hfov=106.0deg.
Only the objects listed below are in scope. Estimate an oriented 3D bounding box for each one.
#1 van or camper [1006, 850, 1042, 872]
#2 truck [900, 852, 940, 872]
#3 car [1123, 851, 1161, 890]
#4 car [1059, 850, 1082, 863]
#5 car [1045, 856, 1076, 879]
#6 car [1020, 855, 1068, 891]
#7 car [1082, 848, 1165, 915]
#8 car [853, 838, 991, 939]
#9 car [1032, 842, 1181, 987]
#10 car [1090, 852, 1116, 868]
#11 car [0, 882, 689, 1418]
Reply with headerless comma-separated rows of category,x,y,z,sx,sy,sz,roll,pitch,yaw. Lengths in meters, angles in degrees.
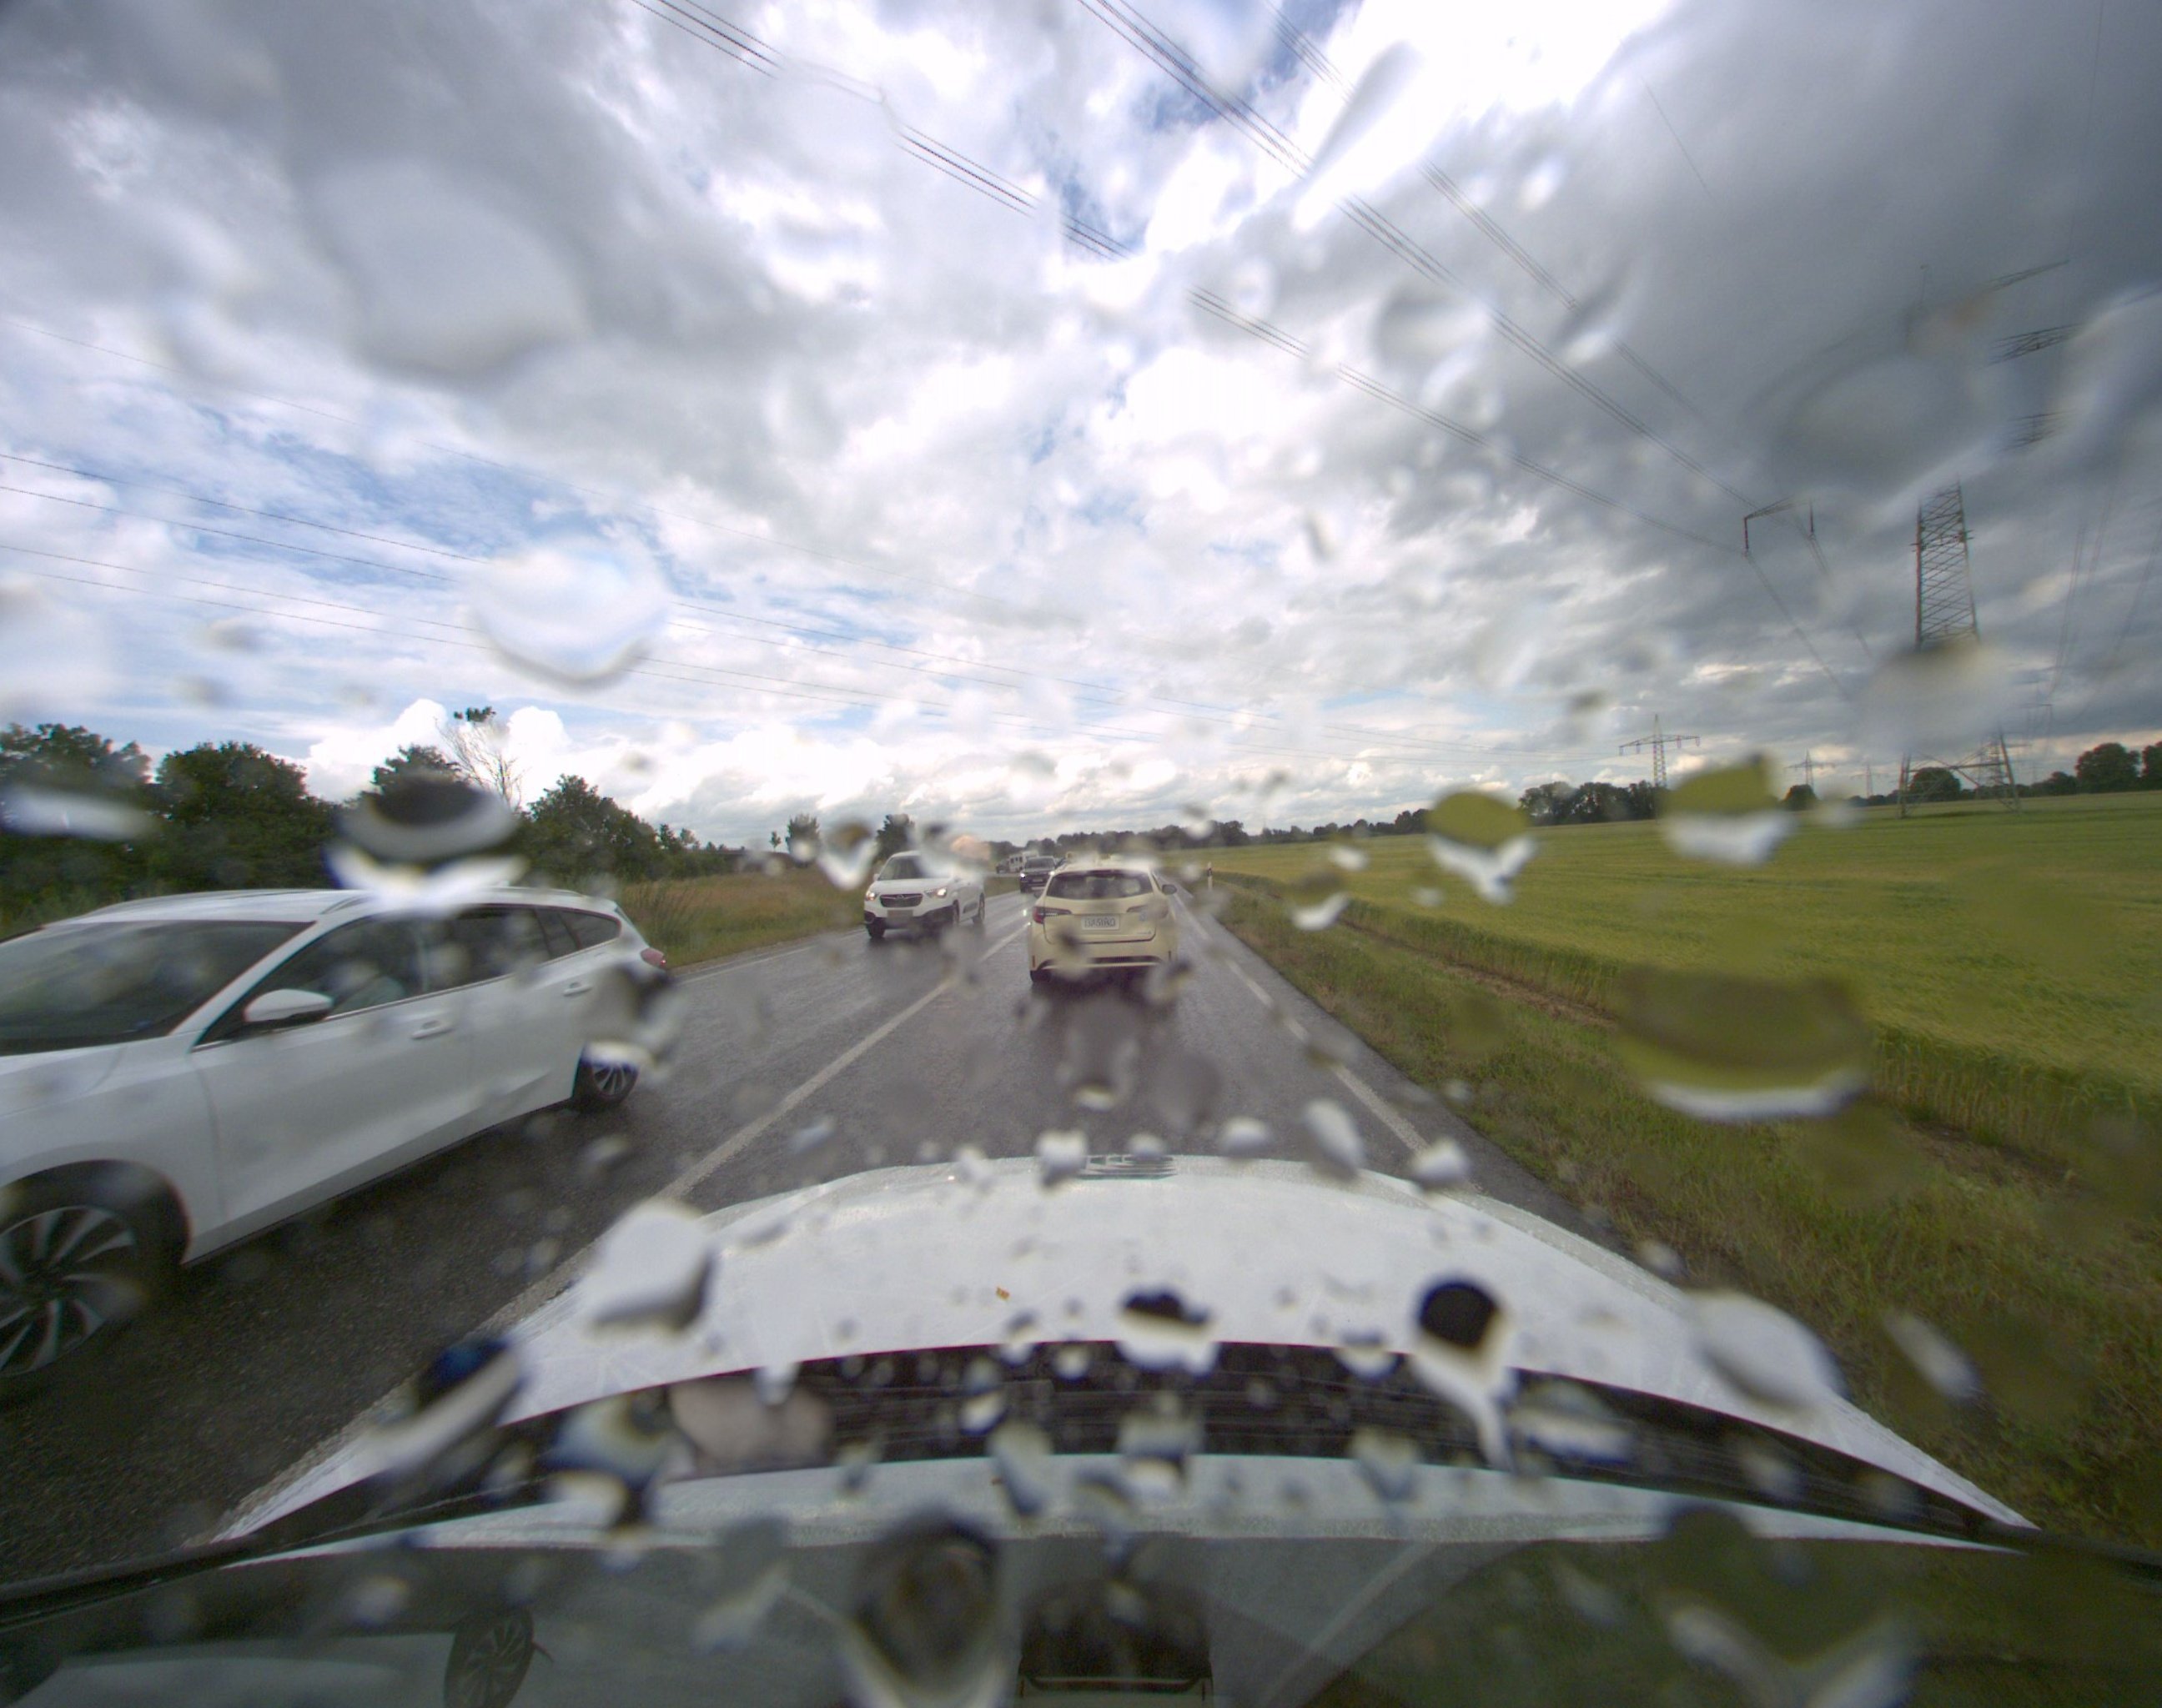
van or camper,-7.655,0.966,108.656,2.549,2.896,6.686,0,-1,-26
truck,-27.528,1.366,139.068,3.039,3.210,8.135,1,-2,-40
car,2.749,0.764,37.002,1.606,1.659,3.741,-1,-2,3
car,-1.223,0.324,92.542,1.786,1.413,3.720,0,-2,-14
car,-1.413,0.910,55.284,1.845,1.448,4.084,-3,0,-4
car,-1.783,0.896,40.909,1.840,1.631,4.539,-2,0,4
car,1.039,0.633,20.493,1.834,1.492,4.610,-1,0,2
car,-3.293,0.697,17.793,1.836,1.855,4.450,-2,-1,3
car,0.369,0.706,10.705,1.606,1.562,3.741,-1,-2,3
car,2.008,0.571,75.772,1.957,1.413,4.383,0,-2,-5
car,-3.844,0.877,3.843,1.838,1.388,4.287,0,-1,1
